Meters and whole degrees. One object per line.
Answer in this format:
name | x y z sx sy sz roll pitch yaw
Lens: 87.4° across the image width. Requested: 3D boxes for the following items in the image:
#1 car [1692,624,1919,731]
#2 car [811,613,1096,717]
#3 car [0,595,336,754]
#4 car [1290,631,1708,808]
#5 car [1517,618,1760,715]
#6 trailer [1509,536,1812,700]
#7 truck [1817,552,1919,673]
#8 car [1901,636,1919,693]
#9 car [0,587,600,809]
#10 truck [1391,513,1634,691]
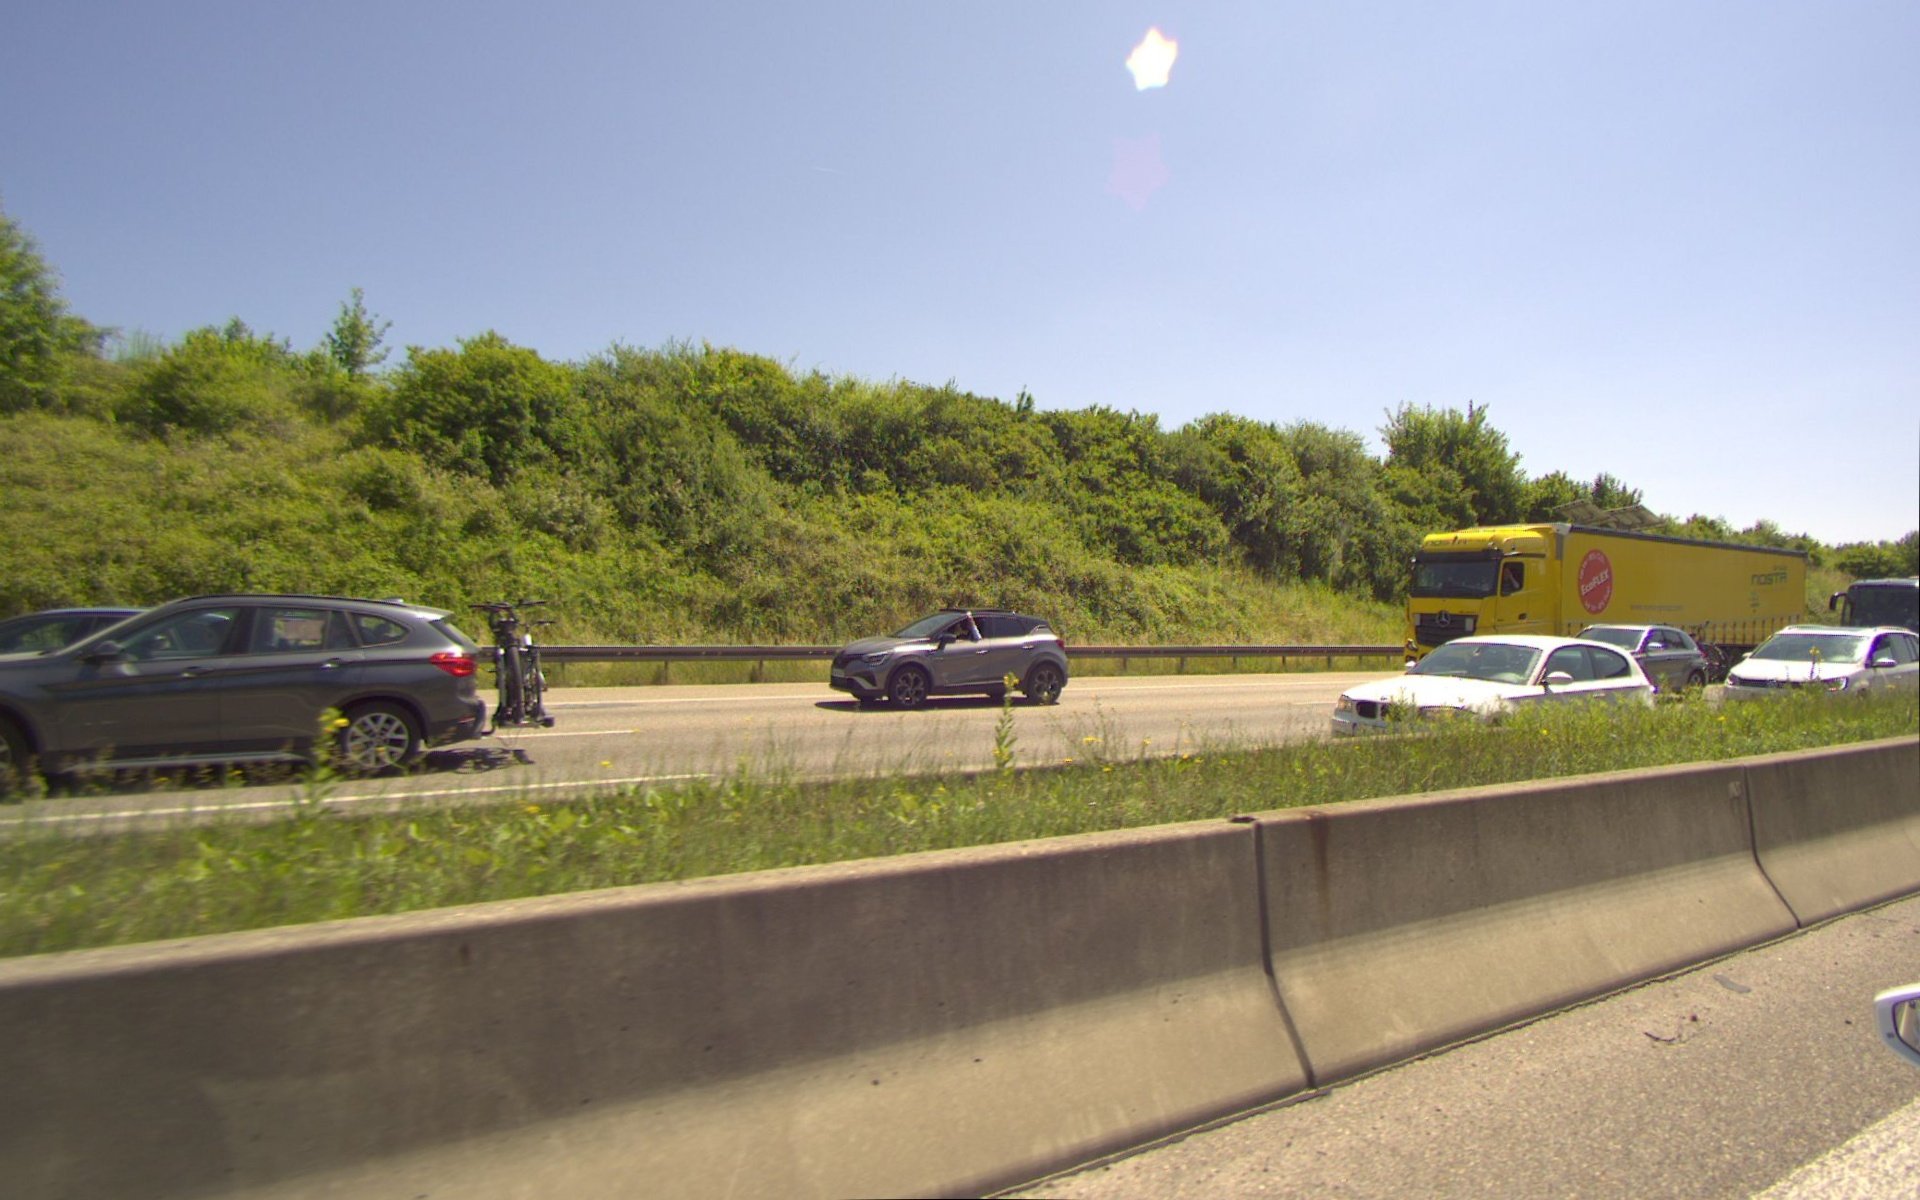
car | 14.583 1.250 16.873 4.970 1.533 1.803 2 0 -30
car | -0.064 1.077 17.098 4.546 1.533 1.803 2 0 -30
car | -9.592 0.749 10.821 4.741 1.533 1.803 2 0 -30
car | 6.031 1.192 11.081 4.761 1.533 1.803 2 0 -30
car | 14.364 1.373 21.150 5.832 1.775 1.853 2 0 -30
trailer | 21.049 0.642 29.775 11.717 4.199 2.637 2 0 -30
truck | 38.377 0.625 39.832 11.353 4.277 3.041 2 0 -30
car | 30.280 1.977 30.108 4.504 1.634 1.767 2 0 -30
car | -6.237 0.791 9.142 5.318 1.650 1.803 2 0 -30
truck | 14.214 0.139 25.766 6.059 4.118 2.590 2 0 -29
